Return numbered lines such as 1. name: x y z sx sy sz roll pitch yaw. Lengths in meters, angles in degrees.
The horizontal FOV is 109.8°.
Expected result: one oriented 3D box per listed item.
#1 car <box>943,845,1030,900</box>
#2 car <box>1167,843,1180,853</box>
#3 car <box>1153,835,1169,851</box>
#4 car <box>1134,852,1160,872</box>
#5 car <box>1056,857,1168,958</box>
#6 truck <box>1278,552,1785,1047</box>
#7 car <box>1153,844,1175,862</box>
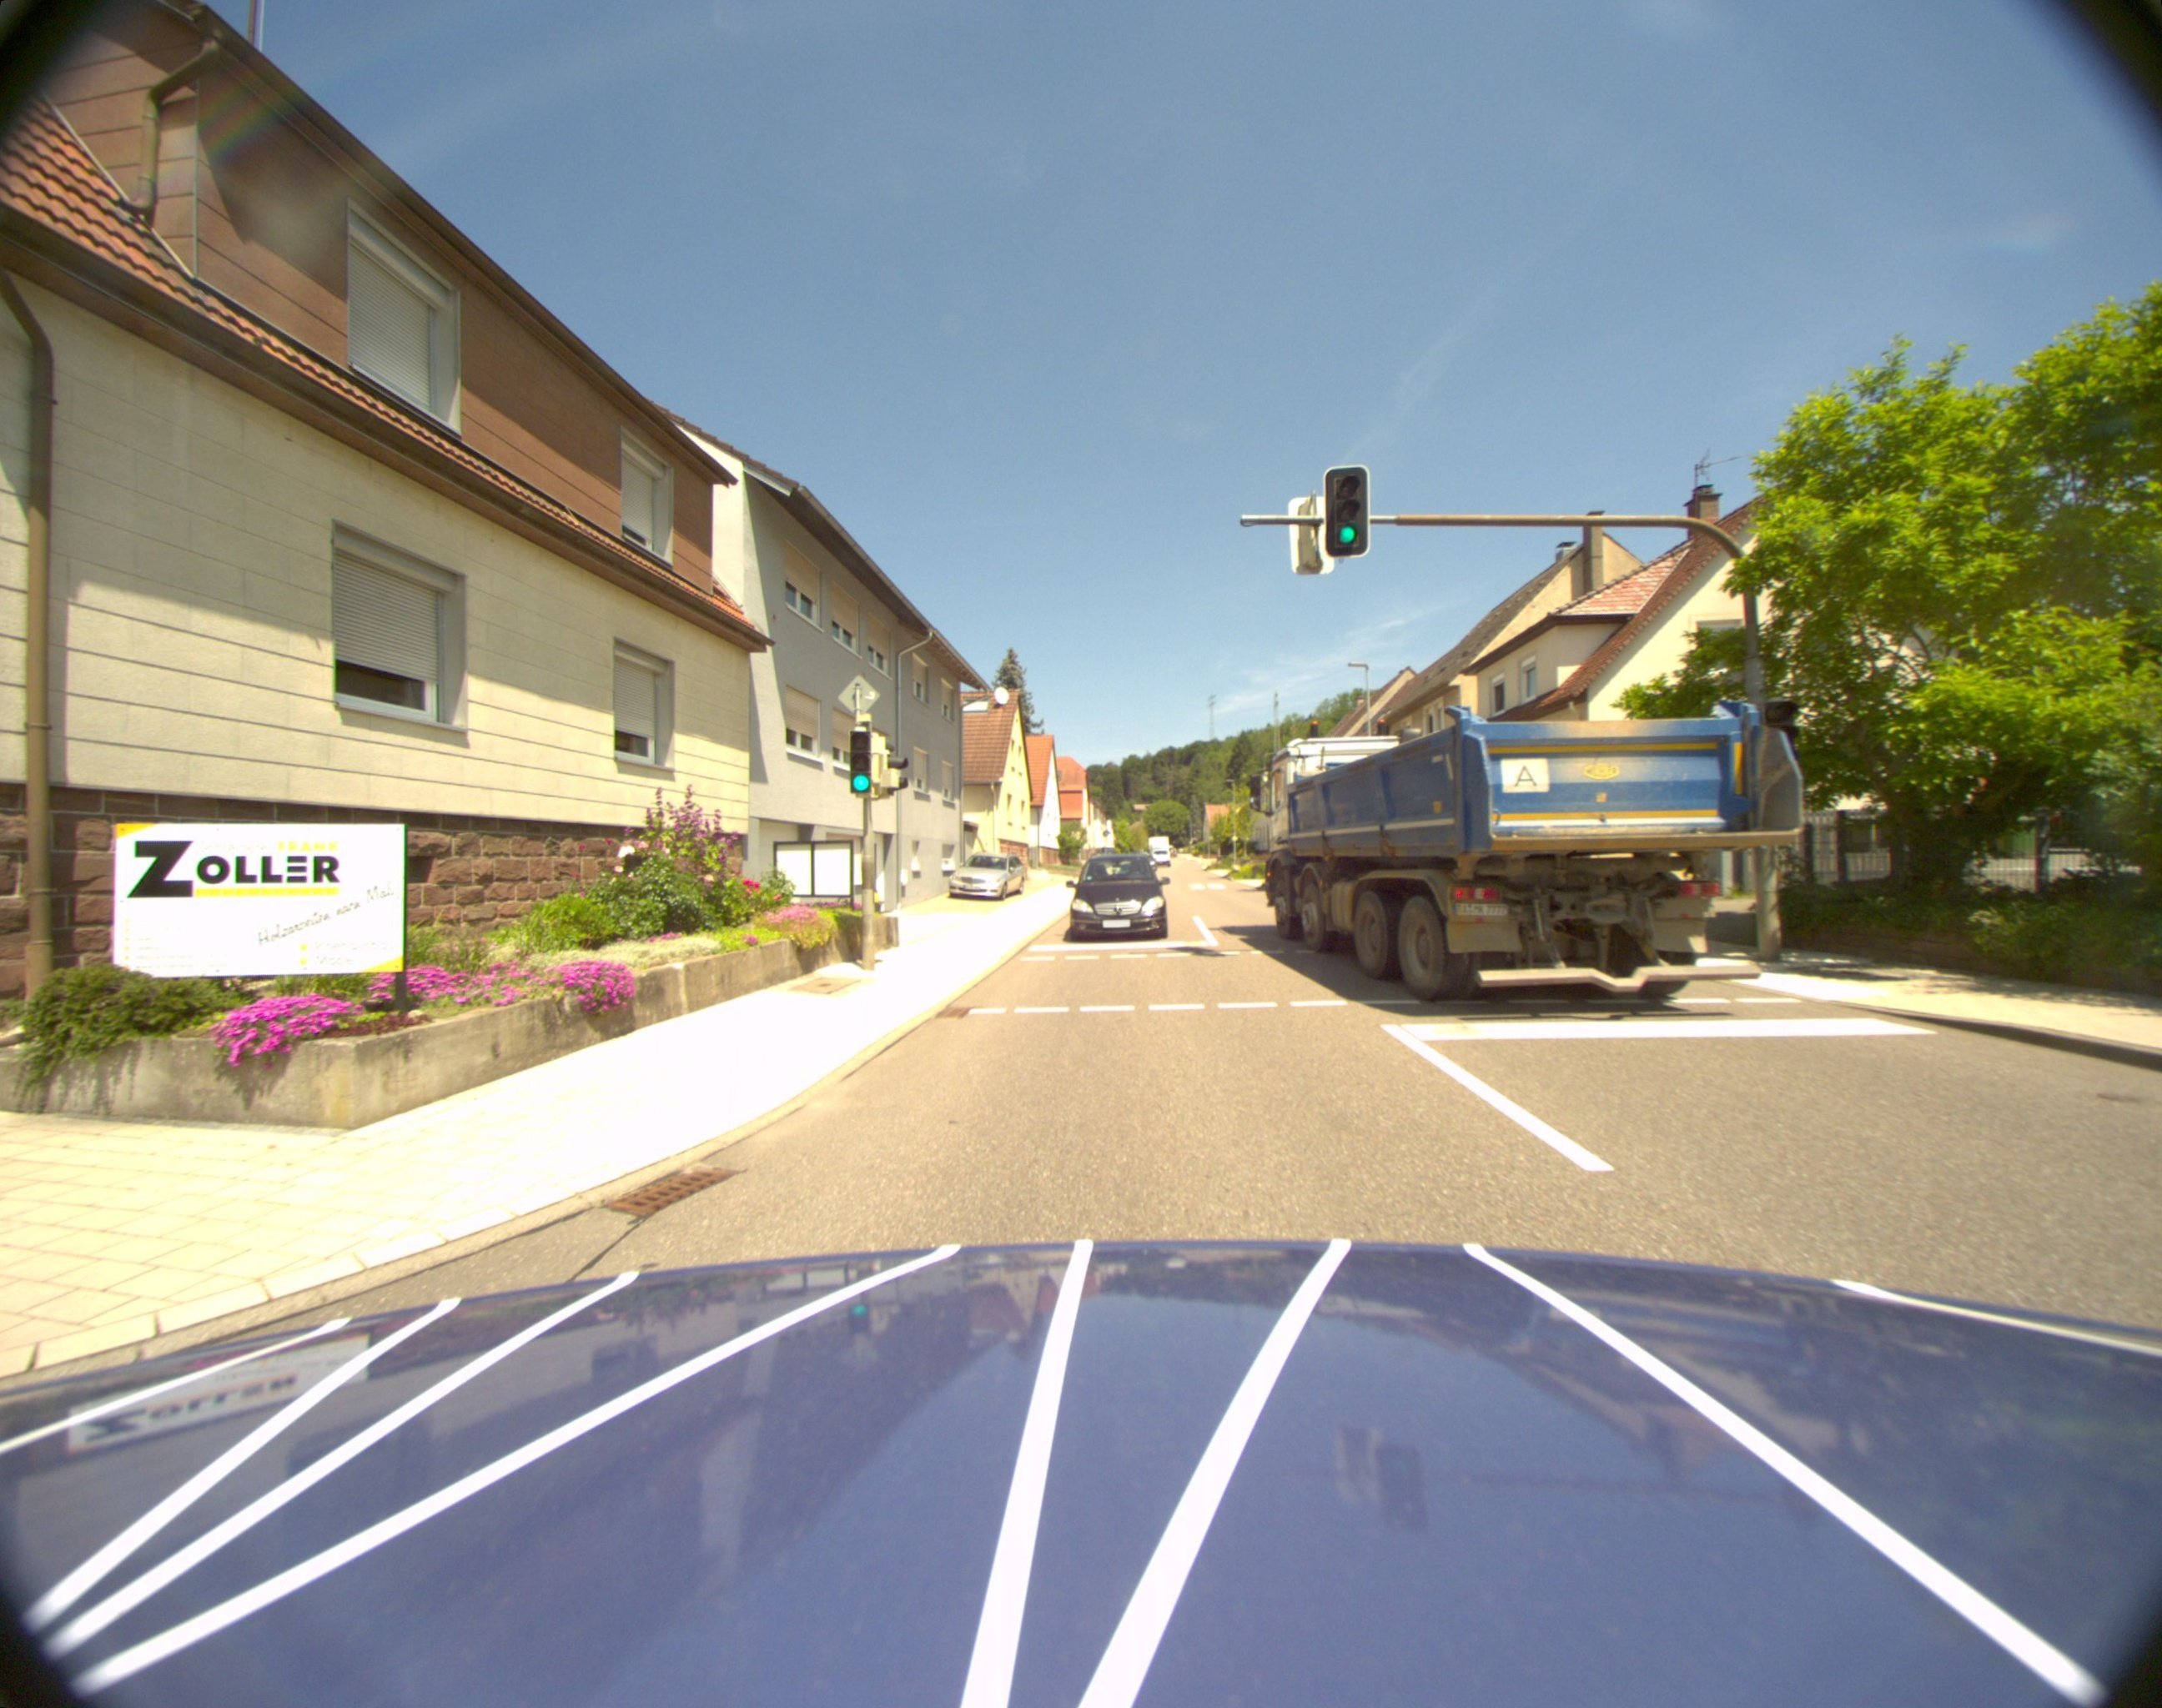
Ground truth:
1. car: -3.073 0.536 25.694 1.866 1.612 4.509 2 1 6
2. car: 18.924 -1.226 154.648 2.370 1.990 5.174 -2 1 8
3. car: 10.953 -1.526 104.068 1.985 2.170 4.002 -2 1 8
4. car: 5.450 0.659 63.128 1.998 1.477 4.223 -3 0 4
5. car: 0.776 0.881 14.830 1.766 1.572 4.933 -2 0 6
6. truck: 4.531 -0.416 10.139 2.546 3.716 8.625 0 0 7
7. car: 8.646 -0.081 79.421 1.998 1.716 4.001 -3 0 4
